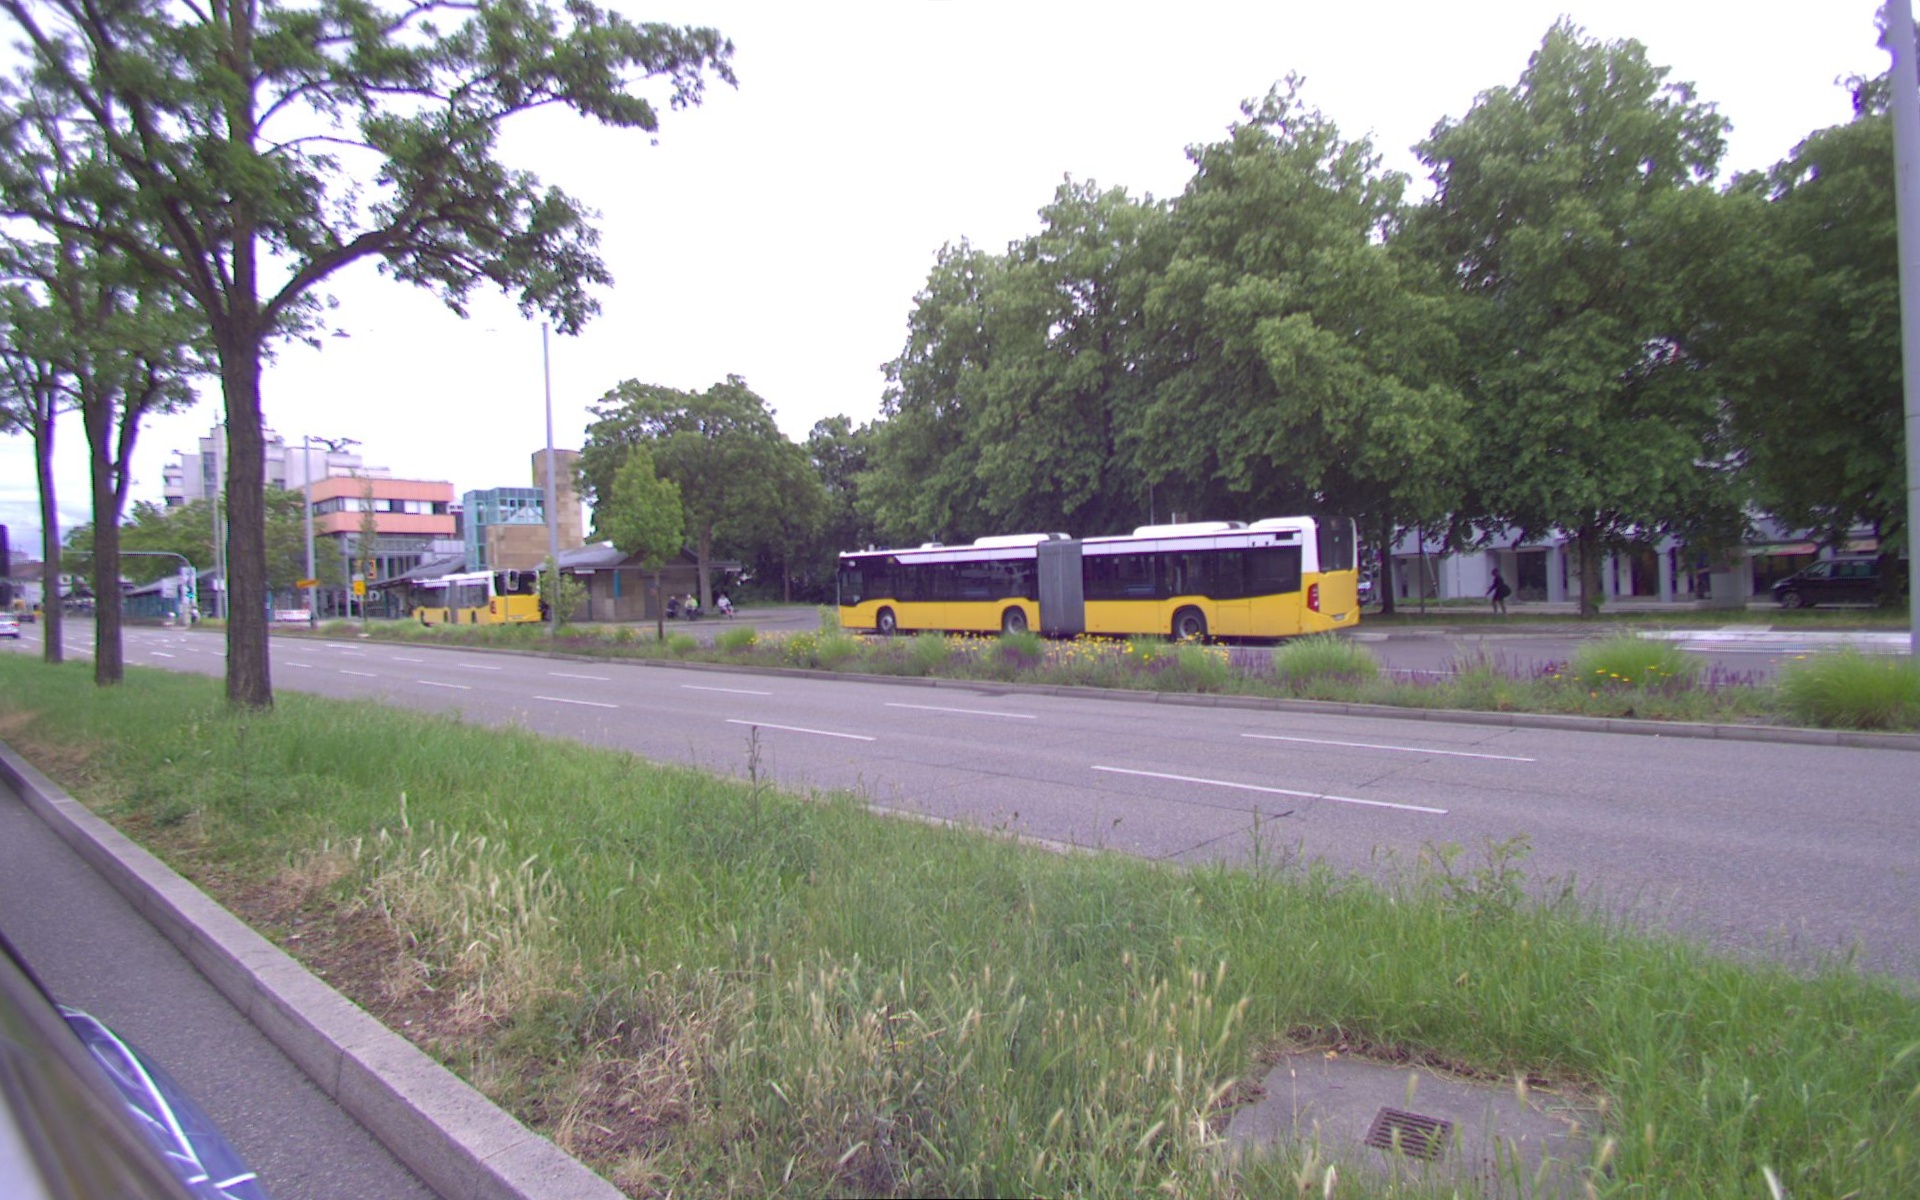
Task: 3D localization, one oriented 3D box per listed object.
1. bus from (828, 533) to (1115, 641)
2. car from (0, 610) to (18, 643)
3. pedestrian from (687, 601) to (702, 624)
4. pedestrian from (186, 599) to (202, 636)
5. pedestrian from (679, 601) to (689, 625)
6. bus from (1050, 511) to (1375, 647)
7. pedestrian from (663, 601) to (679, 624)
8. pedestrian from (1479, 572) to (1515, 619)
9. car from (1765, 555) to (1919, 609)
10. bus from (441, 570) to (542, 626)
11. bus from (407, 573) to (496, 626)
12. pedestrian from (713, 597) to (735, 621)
[{"bbox_3d":[-0.015,-0.311,33.068,2.849,3.025,10.401,-1,0,-44],"label":"bus"},{"bbox_3d":[-59.995,1.659,63.007,4.000,2.029,1.703,-1,0,43],"label":"car"},{"bbox_3d":[-13.251,0.621,50.500,0.589,1.171,0.745,-1,0,-23],"label":"pedestrian"},{"bbox_3d":[-58.470,1.312,77.247,0.889,2.809,1.150,-1,0,-36],"label":"pedestrian"},{"bbox_3d":[-13.745,0.627,50.388,0.361,1.175,0.900,-1,0,-23],"label":"pedestrian"},{"bbox_3d":[6.312,-0.427,26.474,2.849,3.025,7.889,-1,0,-44],"label":"bus"},{"bbox_3d":[-14.857,0.641,52.022,0.590,1.171,0.744,-1,0,-37],"label":"pedestrian"},{"bbox_3d":[18.030,-0.148,33.969,0.904,1.569,0.761,-2,0,41],"label":"pedestrian"},{"bbox_3d":[33.123,-0.638,37.787,1.758,1.861,4.429,-1,0,-35],"label":"car"},{"bbox_3d":[-25.657,-0.062,55.139,2.845,2.830,9.192,-1,0,-39],"label":"bus"},{"bbox_3d":[-31.325,0.010,62.139,2.846,3.025,9.191,-1,0,-40],"label":"bus"},{"bbox_3d":[-11.926,0.466,51.103,0.924,1.180,0.641,-1,0,41],"label":"pedestrian"}]
